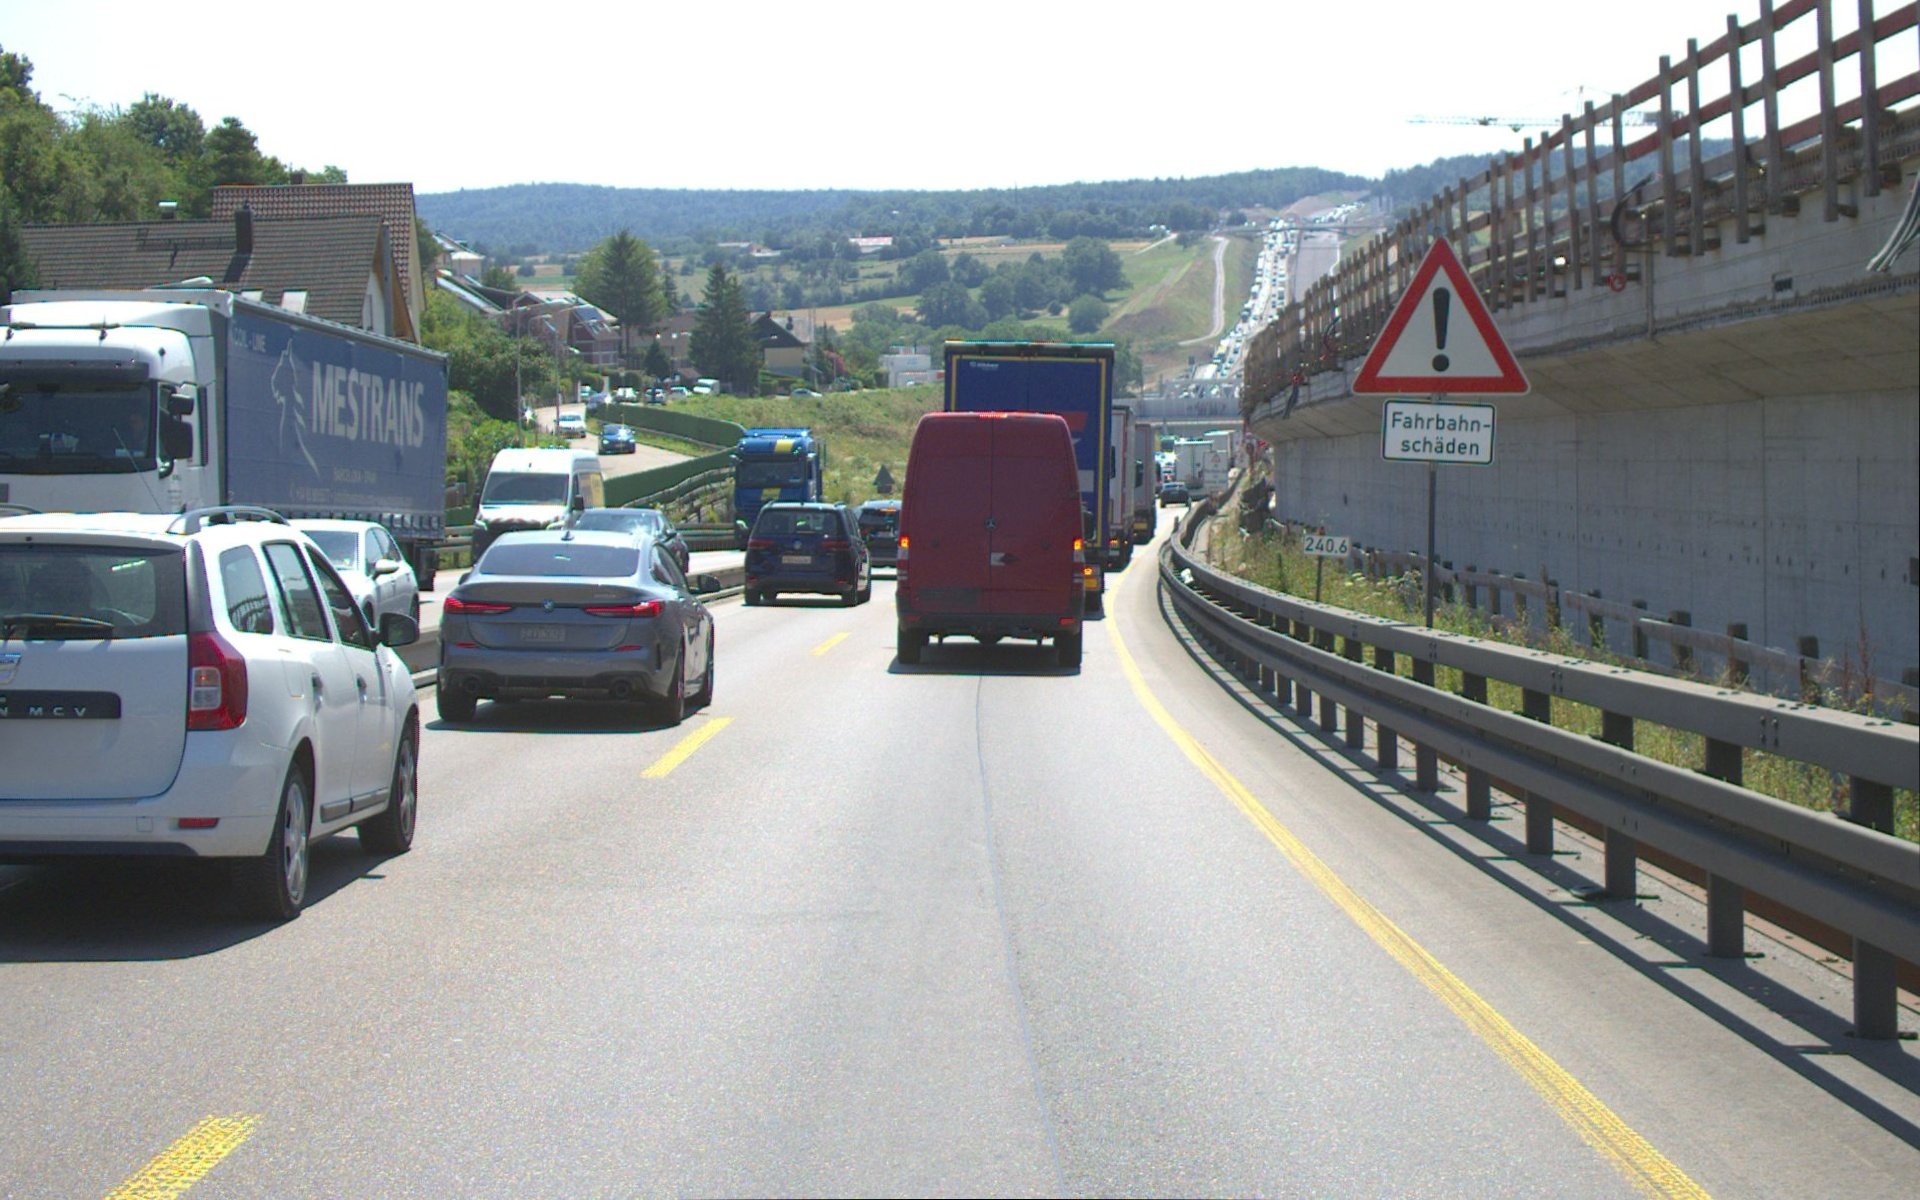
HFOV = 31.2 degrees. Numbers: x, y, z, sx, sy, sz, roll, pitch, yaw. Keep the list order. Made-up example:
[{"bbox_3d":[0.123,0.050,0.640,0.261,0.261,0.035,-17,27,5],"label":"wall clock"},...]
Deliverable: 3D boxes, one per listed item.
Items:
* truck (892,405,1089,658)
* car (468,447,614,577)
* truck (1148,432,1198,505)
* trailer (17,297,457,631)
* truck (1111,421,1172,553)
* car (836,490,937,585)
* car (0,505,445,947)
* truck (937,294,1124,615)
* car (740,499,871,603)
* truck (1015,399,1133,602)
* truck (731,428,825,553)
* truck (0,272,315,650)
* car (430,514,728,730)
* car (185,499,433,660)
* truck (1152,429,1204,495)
[{"bbox_3d":[0.342,-0.707,36.946,1.993,2.570,4.000,0,0,1],"label":"truck"},{"bbox_3d":[-8.693,-1.858,71.826,2.005,2.594,5.979,0,2,3],"label":"car"},{"bbox_3d":[13.606,-8.325,219.256,3.069,4.366,8.556,0,0,4],"label":"truck"},{"bbox_3d":[-9.688,-1.825,47.846,3.135,4.065,11.819,0,2,3],"label":"trailer"},{"bbox_3d":[6.212,-3.820,117.336,1.994,4.366,3.999,0,0,4],"label":"truck"},{"bbox_3d":[-1.444,-1.229,68.660,1.729,1.832,4.000,0,0,3],"label":"car"},{"bbox_3d":[-3.258,0.417,13.876,1.651,1.478,4.267,-2,1,0],"label":"car"},{"bbox_3d":[1.271,-2.212,56.383,2.786,4.799,9.684,0,0,3],"label":"truck"},{"bbox_3d":[-2.452,-0.772,55.294,1.810,1.602,3.719,0,0,2],"label":"car"},{"bbox_3d":[2.919,-2.375,86.184,2.786,4.799,9.684,0,0,3],"label":"truck"},{"bbox_3d":[-5.919,-3.539,112.431,2.509,3.951,5.174,0,0,3],"label":"truck"},{"bbox_3d":[-9.967,-1.602,40.595,3.135,4.065,6.879,0,2,3],"label":"truck"},{"bbox_3d":[-2.830,0.133,26.324,1.794,1.480,4.050,1,1,0],"label":"car"},{"bbox_3d":[-6.543,-0.257,34.966,1.671,1.530,4.191,0,2,1],"label":"car"},{"bbox_3d":[15.291,-9.611,240.691,3.468,4.366,8.556,0,0,4],"label":"truck"}]
